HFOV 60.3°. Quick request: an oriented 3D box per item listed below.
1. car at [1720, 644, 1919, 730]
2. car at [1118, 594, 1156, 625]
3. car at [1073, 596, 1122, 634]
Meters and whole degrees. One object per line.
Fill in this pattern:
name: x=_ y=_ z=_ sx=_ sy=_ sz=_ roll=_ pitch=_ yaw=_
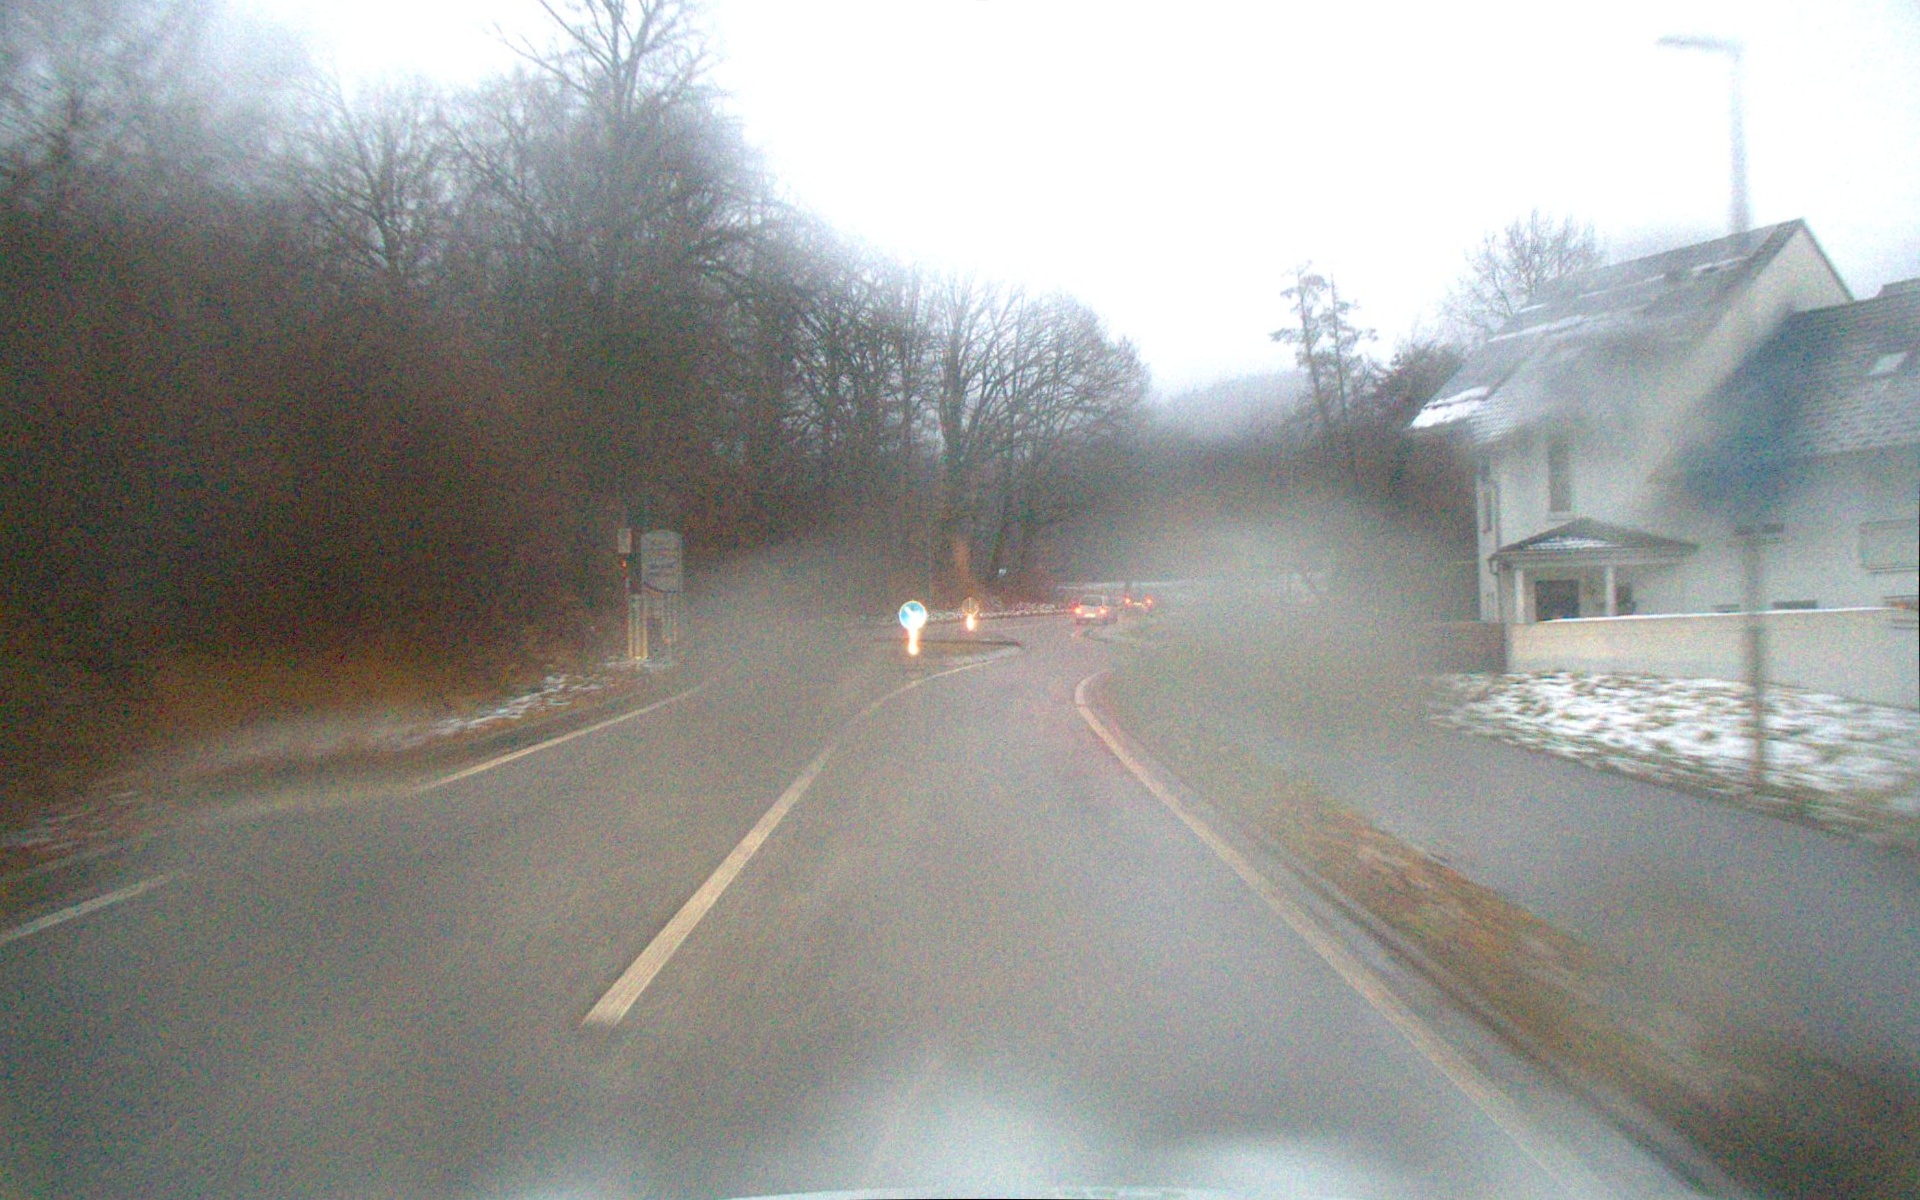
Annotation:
car: x=18.035 y=1.709 z=33.059 sx=4.821 sy=1.514 sz=1.941 roll=0 pitch=0 yaw=42
car: x=10.240 y=0.525 z=95.293 sx=1.891 sy=1.705 sz=4.004 roll=-1 pitch=0 yaw=10
car: x=6.932 y=0.717 z=82.881 sx=1.891 sy=1.812 sz=4.004 roll=-1 pitch=0 yaw=12
